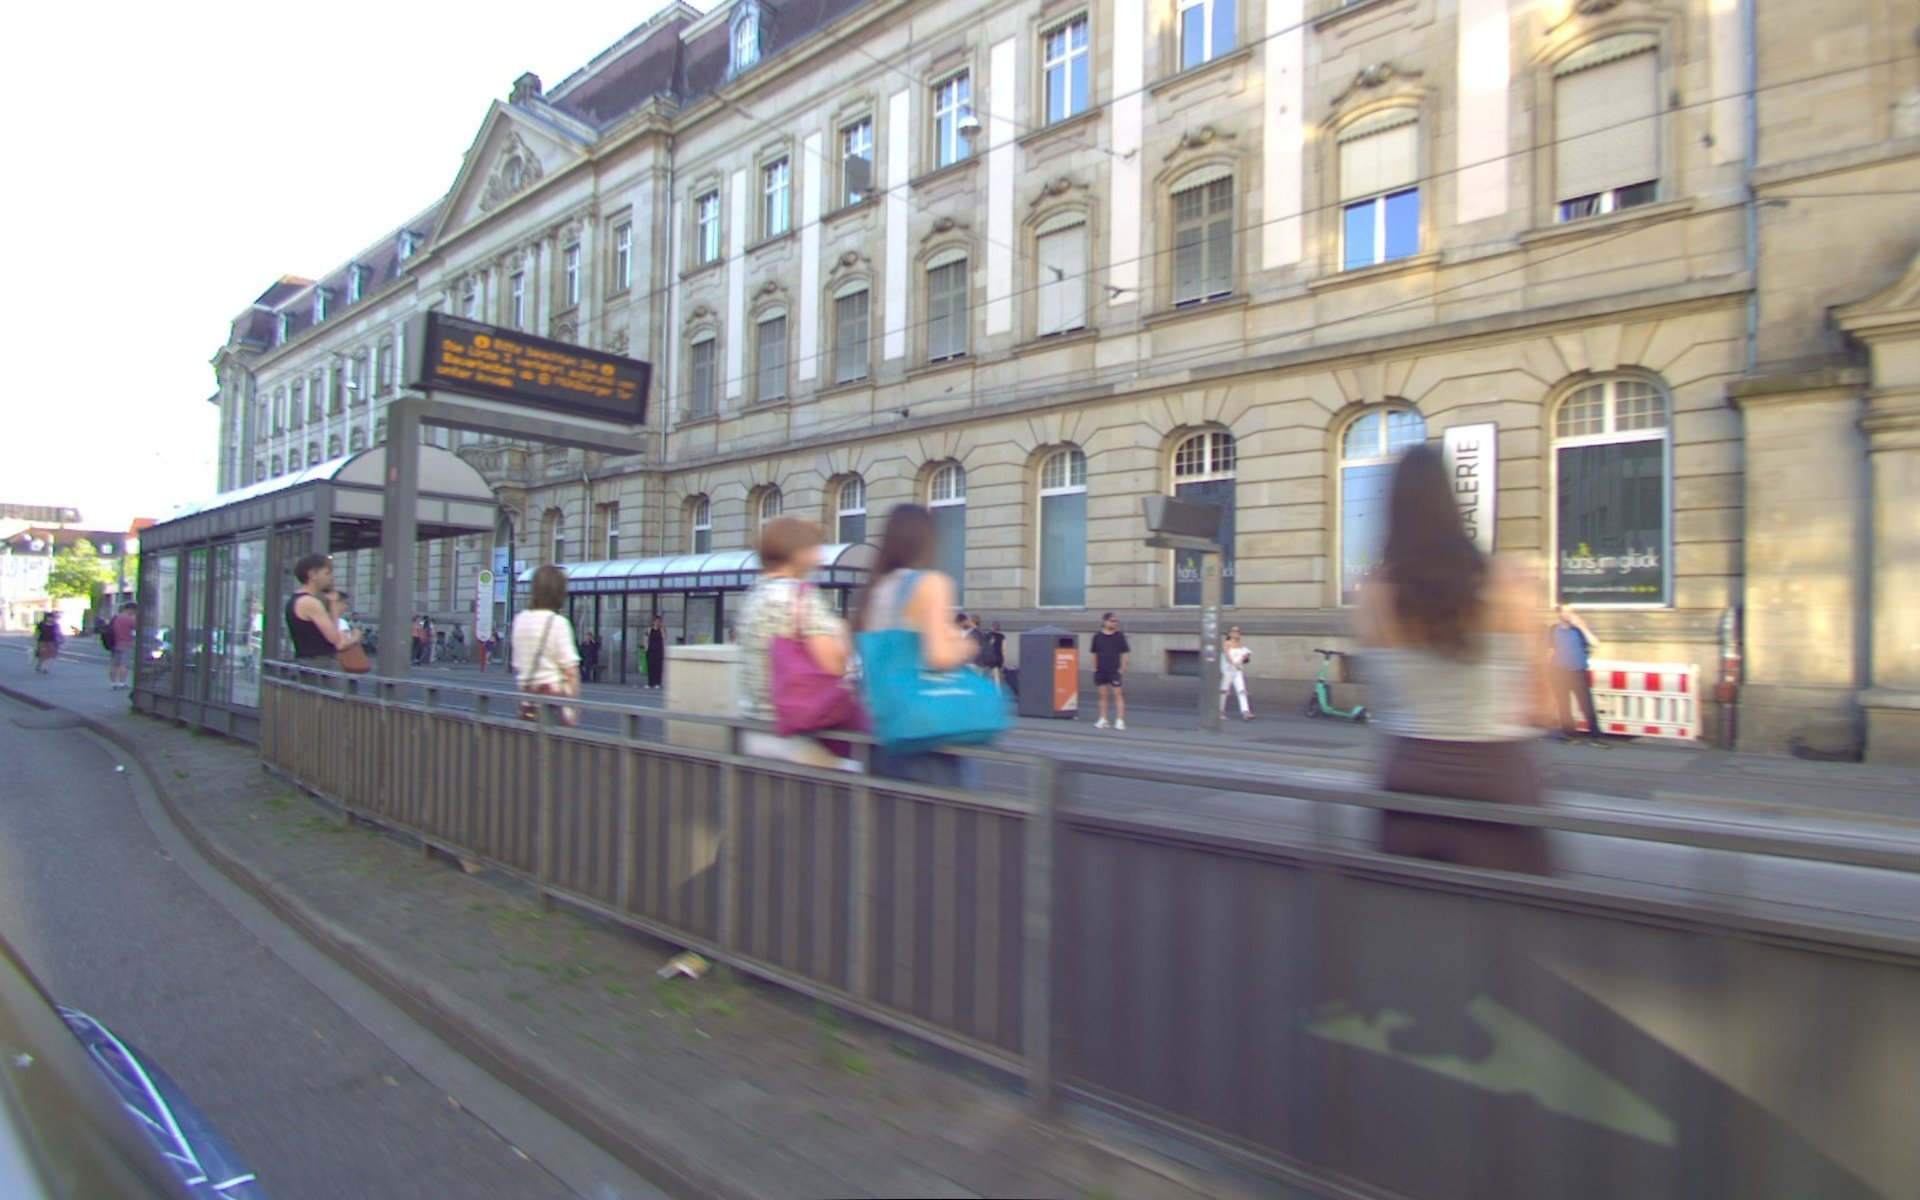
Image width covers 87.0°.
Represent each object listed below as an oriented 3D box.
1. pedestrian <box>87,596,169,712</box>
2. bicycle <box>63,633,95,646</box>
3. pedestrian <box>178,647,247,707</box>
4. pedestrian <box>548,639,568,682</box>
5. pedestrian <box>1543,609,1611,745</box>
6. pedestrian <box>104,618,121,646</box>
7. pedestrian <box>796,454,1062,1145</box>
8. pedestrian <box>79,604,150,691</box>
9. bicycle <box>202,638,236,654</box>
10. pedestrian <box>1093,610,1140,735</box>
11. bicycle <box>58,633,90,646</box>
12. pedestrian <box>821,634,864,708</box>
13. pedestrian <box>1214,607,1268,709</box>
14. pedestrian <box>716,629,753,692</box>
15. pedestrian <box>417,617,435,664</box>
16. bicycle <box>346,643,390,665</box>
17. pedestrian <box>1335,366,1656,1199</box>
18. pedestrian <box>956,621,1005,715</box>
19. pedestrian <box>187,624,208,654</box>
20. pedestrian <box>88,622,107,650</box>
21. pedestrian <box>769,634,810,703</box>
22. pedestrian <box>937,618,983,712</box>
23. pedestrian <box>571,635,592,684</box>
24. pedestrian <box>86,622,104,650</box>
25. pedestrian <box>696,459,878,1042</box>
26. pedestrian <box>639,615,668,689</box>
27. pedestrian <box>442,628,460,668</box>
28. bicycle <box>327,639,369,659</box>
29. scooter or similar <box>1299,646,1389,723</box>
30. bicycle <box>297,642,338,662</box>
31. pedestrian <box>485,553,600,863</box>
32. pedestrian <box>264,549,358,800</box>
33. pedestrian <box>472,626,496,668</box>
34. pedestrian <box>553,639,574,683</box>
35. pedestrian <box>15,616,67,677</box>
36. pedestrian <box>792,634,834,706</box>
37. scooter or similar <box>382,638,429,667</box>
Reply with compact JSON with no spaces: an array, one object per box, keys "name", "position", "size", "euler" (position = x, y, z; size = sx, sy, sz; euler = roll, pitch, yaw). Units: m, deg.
[{"name":"pedestrian","position":[-12.615,0.810,15.359],"size":[0.667,1.704,0.637],"euler":[1,-2,2]},{"name":"bicycle","position":[-79.832,3.594,91.764],"size":[0.692,1.168,2.103],"euler":[-2,-3,42]},{"name":"pedestrian","position":[-12.286,1.251,16.656],"size":[0.787,0.946,0.695],"euler":[1,-2,-26]},{"name":"pedestrian","position":[-10.542,1.573,26.533],"size":[0.360,1.111,0.430],"euler":[1,-1,-43]},{"name":"pedestrian","position":[8.437,1.026,13.838],"size":[0.705,1.790,0.614],"euler":[-1,-2,38]},{"name":"pedestrian","position":[-53.483,2.043,63.877],"size":[0.680,1.750,0.667],"euler":[-2,-5,41]},{"name":"pedestrian","position":[-0.097,0.517,3.017],"size":[0.533,1.780,0.595],"euler":[1,-1,-44]},{"name":"pedestrian","position":[-16.383,0.919,19.634],"size":[0.677,1.650,0.862],"euler":[0,-2,-8]},{"name":"bicycle","position":[-43.206,2.675,58.992],"size":[1.557,0.880,0.451],"euler":[1,-1,-44]},{"name":"pedestrian","position":[2.282,1.042,14.774],"size":[0.558,1.790,0.464],"euler":[-1,-2,28]},{"name":"bicycle","position":[-81.222,3.610,92.812],"size":[0.692,1.168,2.103],"euler":[-2,-3,42]},{"name":"pedestrian","position":[-2.210,1.324,19.023],"size":[0.638,1.337,0.512],"euler":[-1,-2,45]},{"name":"pedestrian","position":[4.630,0.939,16.658],"size":[0.630,1.626,0.692],"euler":[-1,-2,40]},{"name":"pedestrian","position":[-4.924,1.306,22.071],"size":[0.638,1.337,0.512],"euler":[-1,-2,45]},{"name":"pedestrian","position":[-18.656,1.402,35.358],"size":[0.434,1.617,0.573],"euler":[1,-1,-40]},{"name":"bicycle","position":[-25.375,2.300,43.420],"size":[1.557,0.880,0.451],"euler":[1,-1,-44]},{"name":"pedestrian","position":[1.074,0.425,2.040],"size":[0.502,1.654,0.353],"euler":[-1,-1,39]},{"name":"pedestrian","position":[0.351,1.156,17.412],"size":[0.638,1.581,0.512],"euler":[-1,-2,45]},{"name":"pedestrian","position":[-39.761,2.050,52.752],"size":[0.764,1.544,0.740],"euler":[1,-2,-31]},{"name":"pedestrian","position":[-54.197,2.267,63.587],"size":[0.593,1.750,0.643],"euler":[-1,-4,32]},{"name":"pedestrian","position":[-3.370,1.339,20.032],"size":[0.638,1.337,0.512],"euler":[-1,-2,45]},{"name":"pedestrian","position":[0.002,1.151,18.180],"size":[0.638,1.658,0.512],"euler":[-1,-2,45]},{"name":"pedestrian","position":[-9.543,1.488,25.503],"size":[0.360,1.209,0.430],"euler":[1,-1,-43]},{"name":"pedestrian","position":[-53.506,2.238,62.613],"size":[0.669,1.750,0.484],"euler":[3,-4,-30]},{"name":"pedestrian","position":[-0.594,0.468,3.454],"size":[0.544,1.809,0.338],"euler":[-1,-1,39]},{"name":"pedestrian","position":[-7.049,1.178,23.252],"size":[0.510,1.663,0.640],"euler":[2,-2,-27]},{"name":"pedestrian","position":[-18.526,1.731,36.829],"size":[0.433,1.451,0.573],"euler":[0,-1,-12]},{"name":"bicycle","position":[-27.796,2.217,45.965],"size":[1.557,0.880,0.451],"euler":[1,-1,-44]},{"name":"scooter or similar","position":[6.304,1.363,16.649],"size":[1.293,1.191,0.481],"euler":[-1,-1,43]},{"name":"bicycle","position":[-30.079,2.418,47.375],"size":[1.557,0.880,0.451],"euler":[1,-1,-44]},{"name":"pedestrian","position":[-2.363,0.580,5.732],"size":[0.549,1.654,0.382],"euler":[-1,-1,39]},{"name":"pedestrian","position":[-4.841,0.534,7.547],"size":[0.594,1.780,0.408],"euler":[-1,-1,39]},{"name":"pedestrian","position":[-17.492,1.725,37.166],"size":[0.589,1.501,0.538],"euler":[0,-1,18]},{"name":"pedestrian","position":[-10.205,1.565,26.028],"size":[0.360,1.111,0.430],"euler":[1,-1,-43]},{"name":"pedestrian","position":[-23.178,1.160,25.517],"size":[0.901,1.512,0.837],"euler":[-1,-3,41]},{"name":"pedestrian","position":[-2.840,1.331,19.515],"size":[0.638,1.337,0.512],"euler":[-1,-2,45]},{"name":"scooter or similar","position":[-21.511,2.031,39.296],"size":[1.529,1.076,0.451],"euler":[1,-1,-44]}]
